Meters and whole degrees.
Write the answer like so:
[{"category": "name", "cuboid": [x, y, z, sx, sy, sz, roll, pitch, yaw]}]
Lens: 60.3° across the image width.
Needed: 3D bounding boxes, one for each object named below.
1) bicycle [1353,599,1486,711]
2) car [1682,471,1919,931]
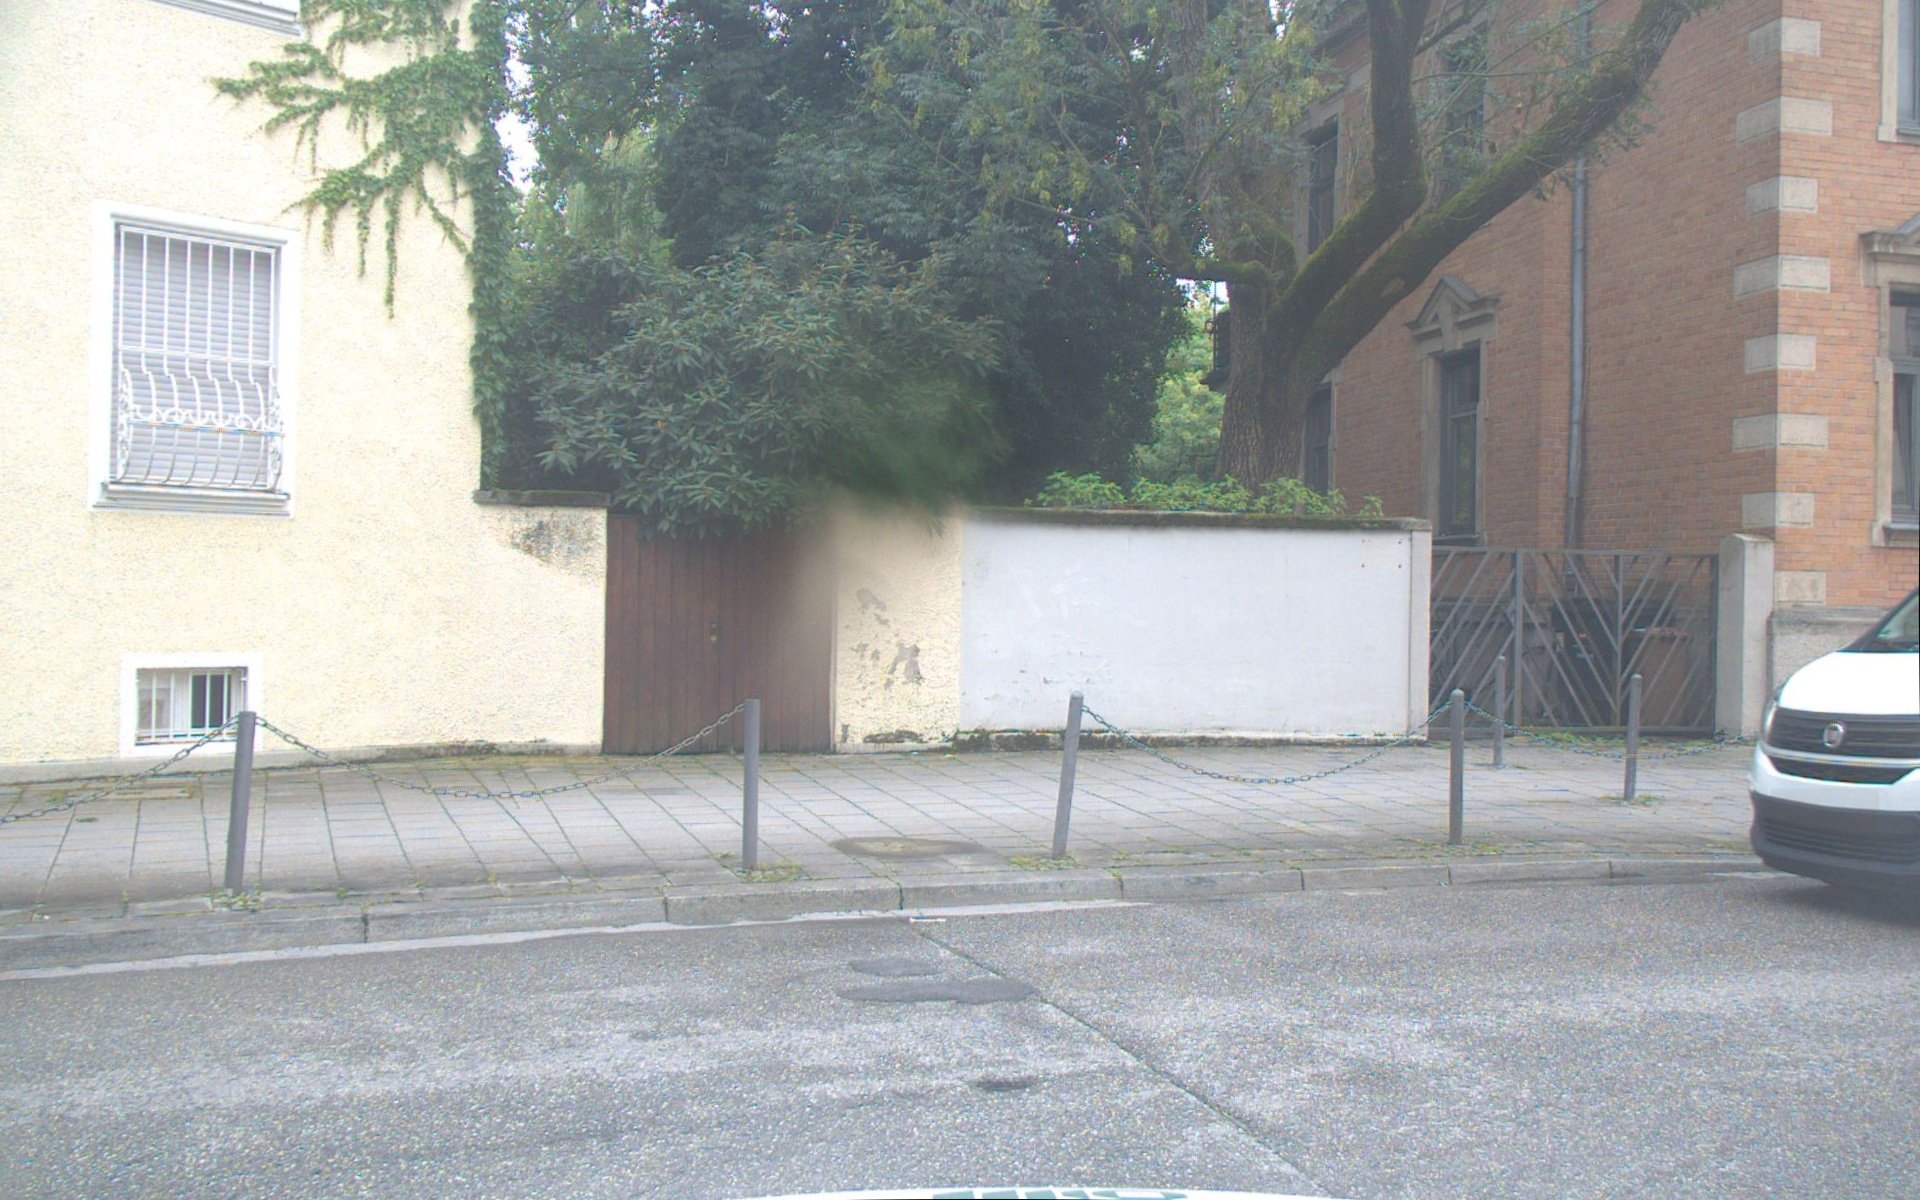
[{"category": "bicycle", "cuboid": [5.355, 0.617, 19.395, 0.525, 1.240, 2.075, 1, -1, -14]}, {"category": "car", "cuboid": [6.554, 0.484, 8.656, 4.857, 2.077, 2.039, 0, -1, -14]}]
